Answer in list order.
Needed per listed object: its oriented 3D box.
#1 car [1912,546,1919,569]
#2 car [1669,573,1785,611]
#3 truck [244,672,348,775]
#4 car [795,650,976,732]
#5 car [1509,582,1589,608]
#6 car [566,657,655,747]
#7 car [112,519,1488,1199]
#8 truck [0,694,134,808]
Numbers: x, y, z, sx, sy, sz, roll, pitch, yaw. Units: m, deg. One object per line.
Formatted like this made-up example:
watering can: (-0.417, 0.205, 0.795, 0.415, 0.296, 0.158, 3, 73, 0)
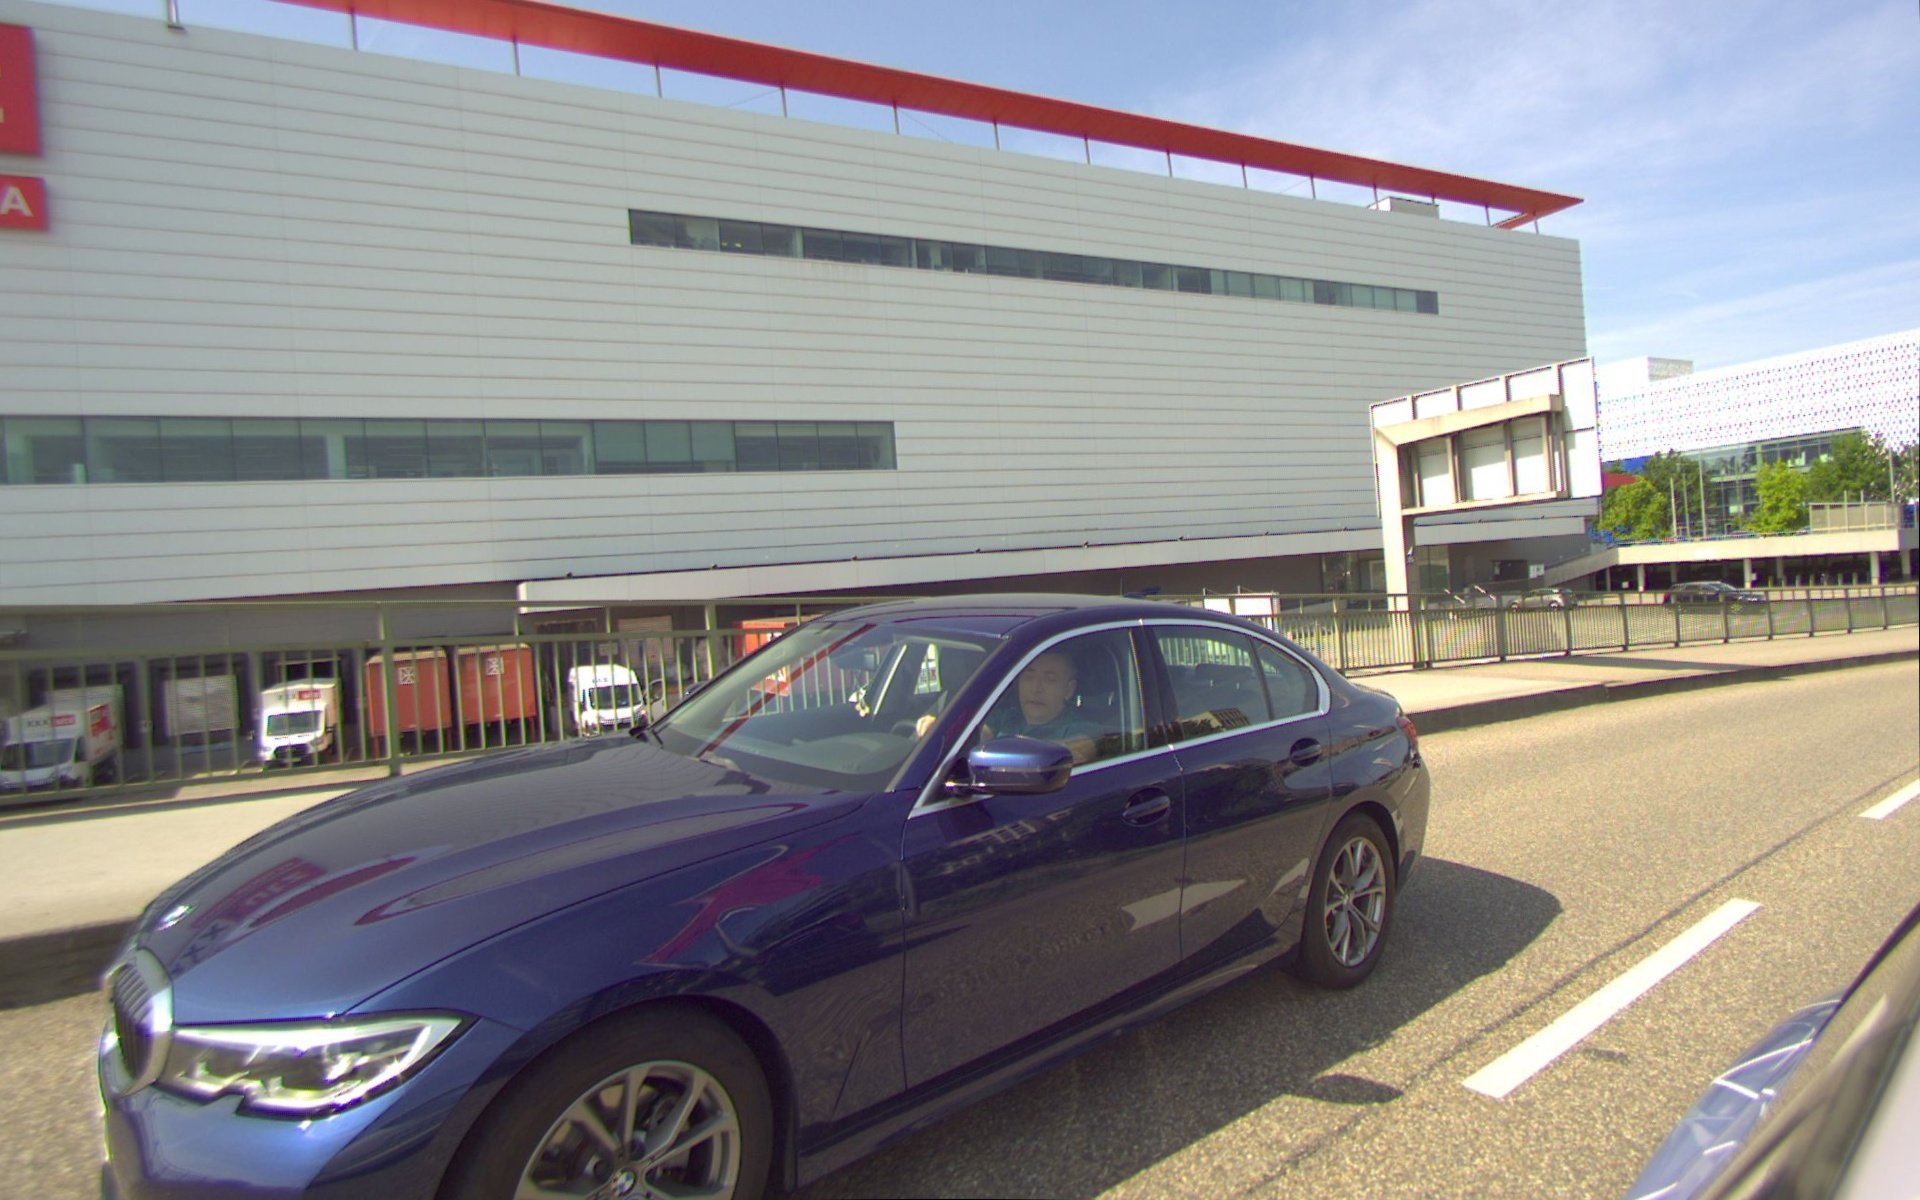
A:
car: (78.812, -3.491, 80.382, 1.962, 1.857, 4.319, -2, 0, -33)
car: (39.429, -0.388, 52.161, 1.824, 1.753, 4.426, -4, 0, -18)
truck: (-24.201, 4.368, 37.131, 2.089, 2.963, 6.021, -4, 0, -24)
car: (-2.598, 3.122, 35.626, 5.892, 2.029, 2.135, -5, 2, -27)
car: (36.559, -0.289, 62.854, 1.775, 1.393, 3.873, -3, -1, -28)
car: (-12.803, 3.574, 36.806, 2.090, 2.653, 6.019, -4, 0, -27)
car: (-0.027, 0.588, 3.559, 4.444, 1.501, 1.790, -5, 1, -41)
truck: (-30.231, 4.930, 34.049, 2.089, 2.963, 6.021, -4, 0, -24)
